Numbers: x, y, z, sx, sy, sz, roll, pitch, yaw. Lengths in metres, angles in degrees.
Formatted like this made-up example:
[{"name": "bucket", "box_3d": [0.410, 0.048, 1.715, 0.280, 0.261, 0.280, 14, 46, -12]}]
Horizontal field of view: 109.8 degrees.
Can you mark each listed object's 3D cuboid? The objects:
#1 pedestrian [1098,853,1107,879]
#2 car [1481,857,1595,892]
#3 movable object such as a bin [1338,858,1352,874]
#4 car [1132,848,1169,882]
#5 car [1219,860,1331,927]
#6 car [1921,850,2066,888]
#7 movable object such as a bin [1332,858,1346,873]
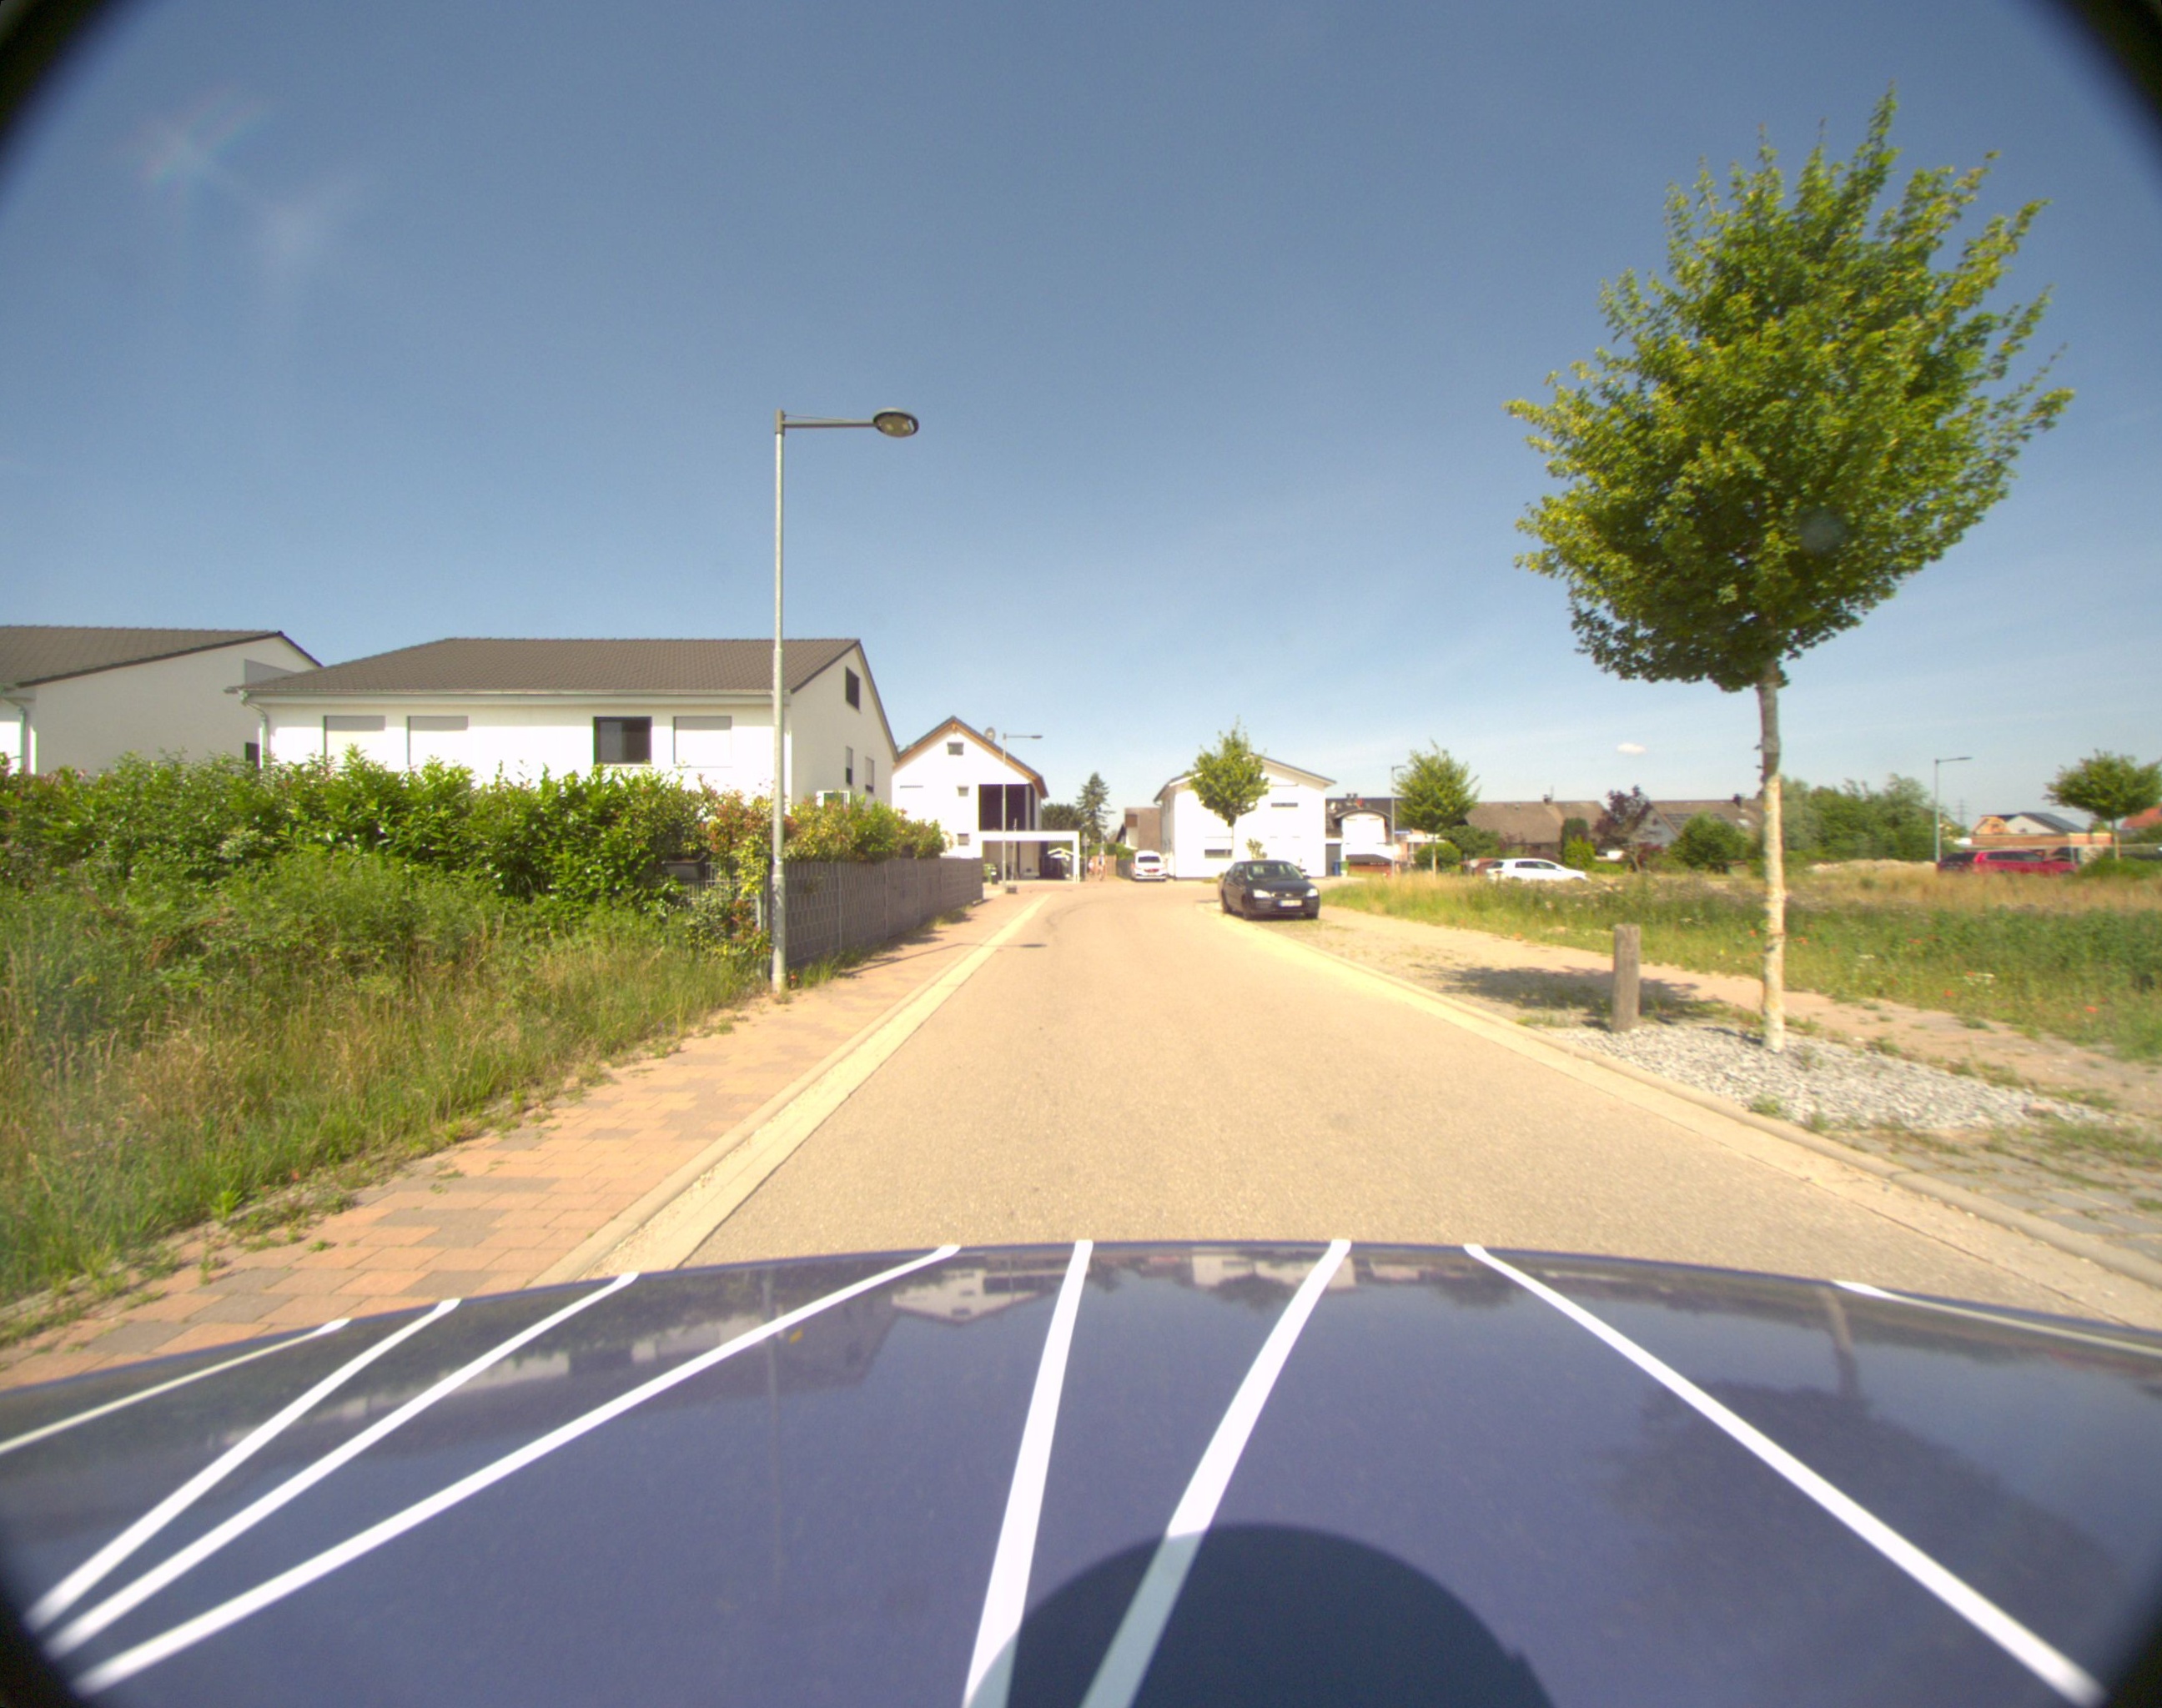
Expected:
[{"name": "pedestrian", "box_3d": [1.395, 0.782, 49.357, 0.550, 1.710, 0.820, 0, 0, 4]}, {"name": "car", "box_3d": [20.337, 0.898, 33.973, 3.995, 1.494, 1.810, 0, 0, 6]}, {"name": "movable object such as a bin", "box_3d": [17.136, 0.763, 49.346, 0.685, 0.999, 0.741, 0, 0, 3]}, {"name": "car", "box_3d": [4.124, 0.623, 45.820, 1.856, 1.874, 4.559, -2, 0, 1]}, {"name": "car", "box_3d": [4.826, 0.921, 19.460, 1.816, 1.445, 4.144, -2, 0, 1]}, {"name": "car", "box_3d": [39.504, 0.644, 32.963, 3.996, 1.606, 1.810, 0, 0, 2]}, {"name": "movable object such as a bin", "box_3d": [17.011, 0.759, 50.170, 0.685, 0.999, 0.741, 0, 0, 3]}]
